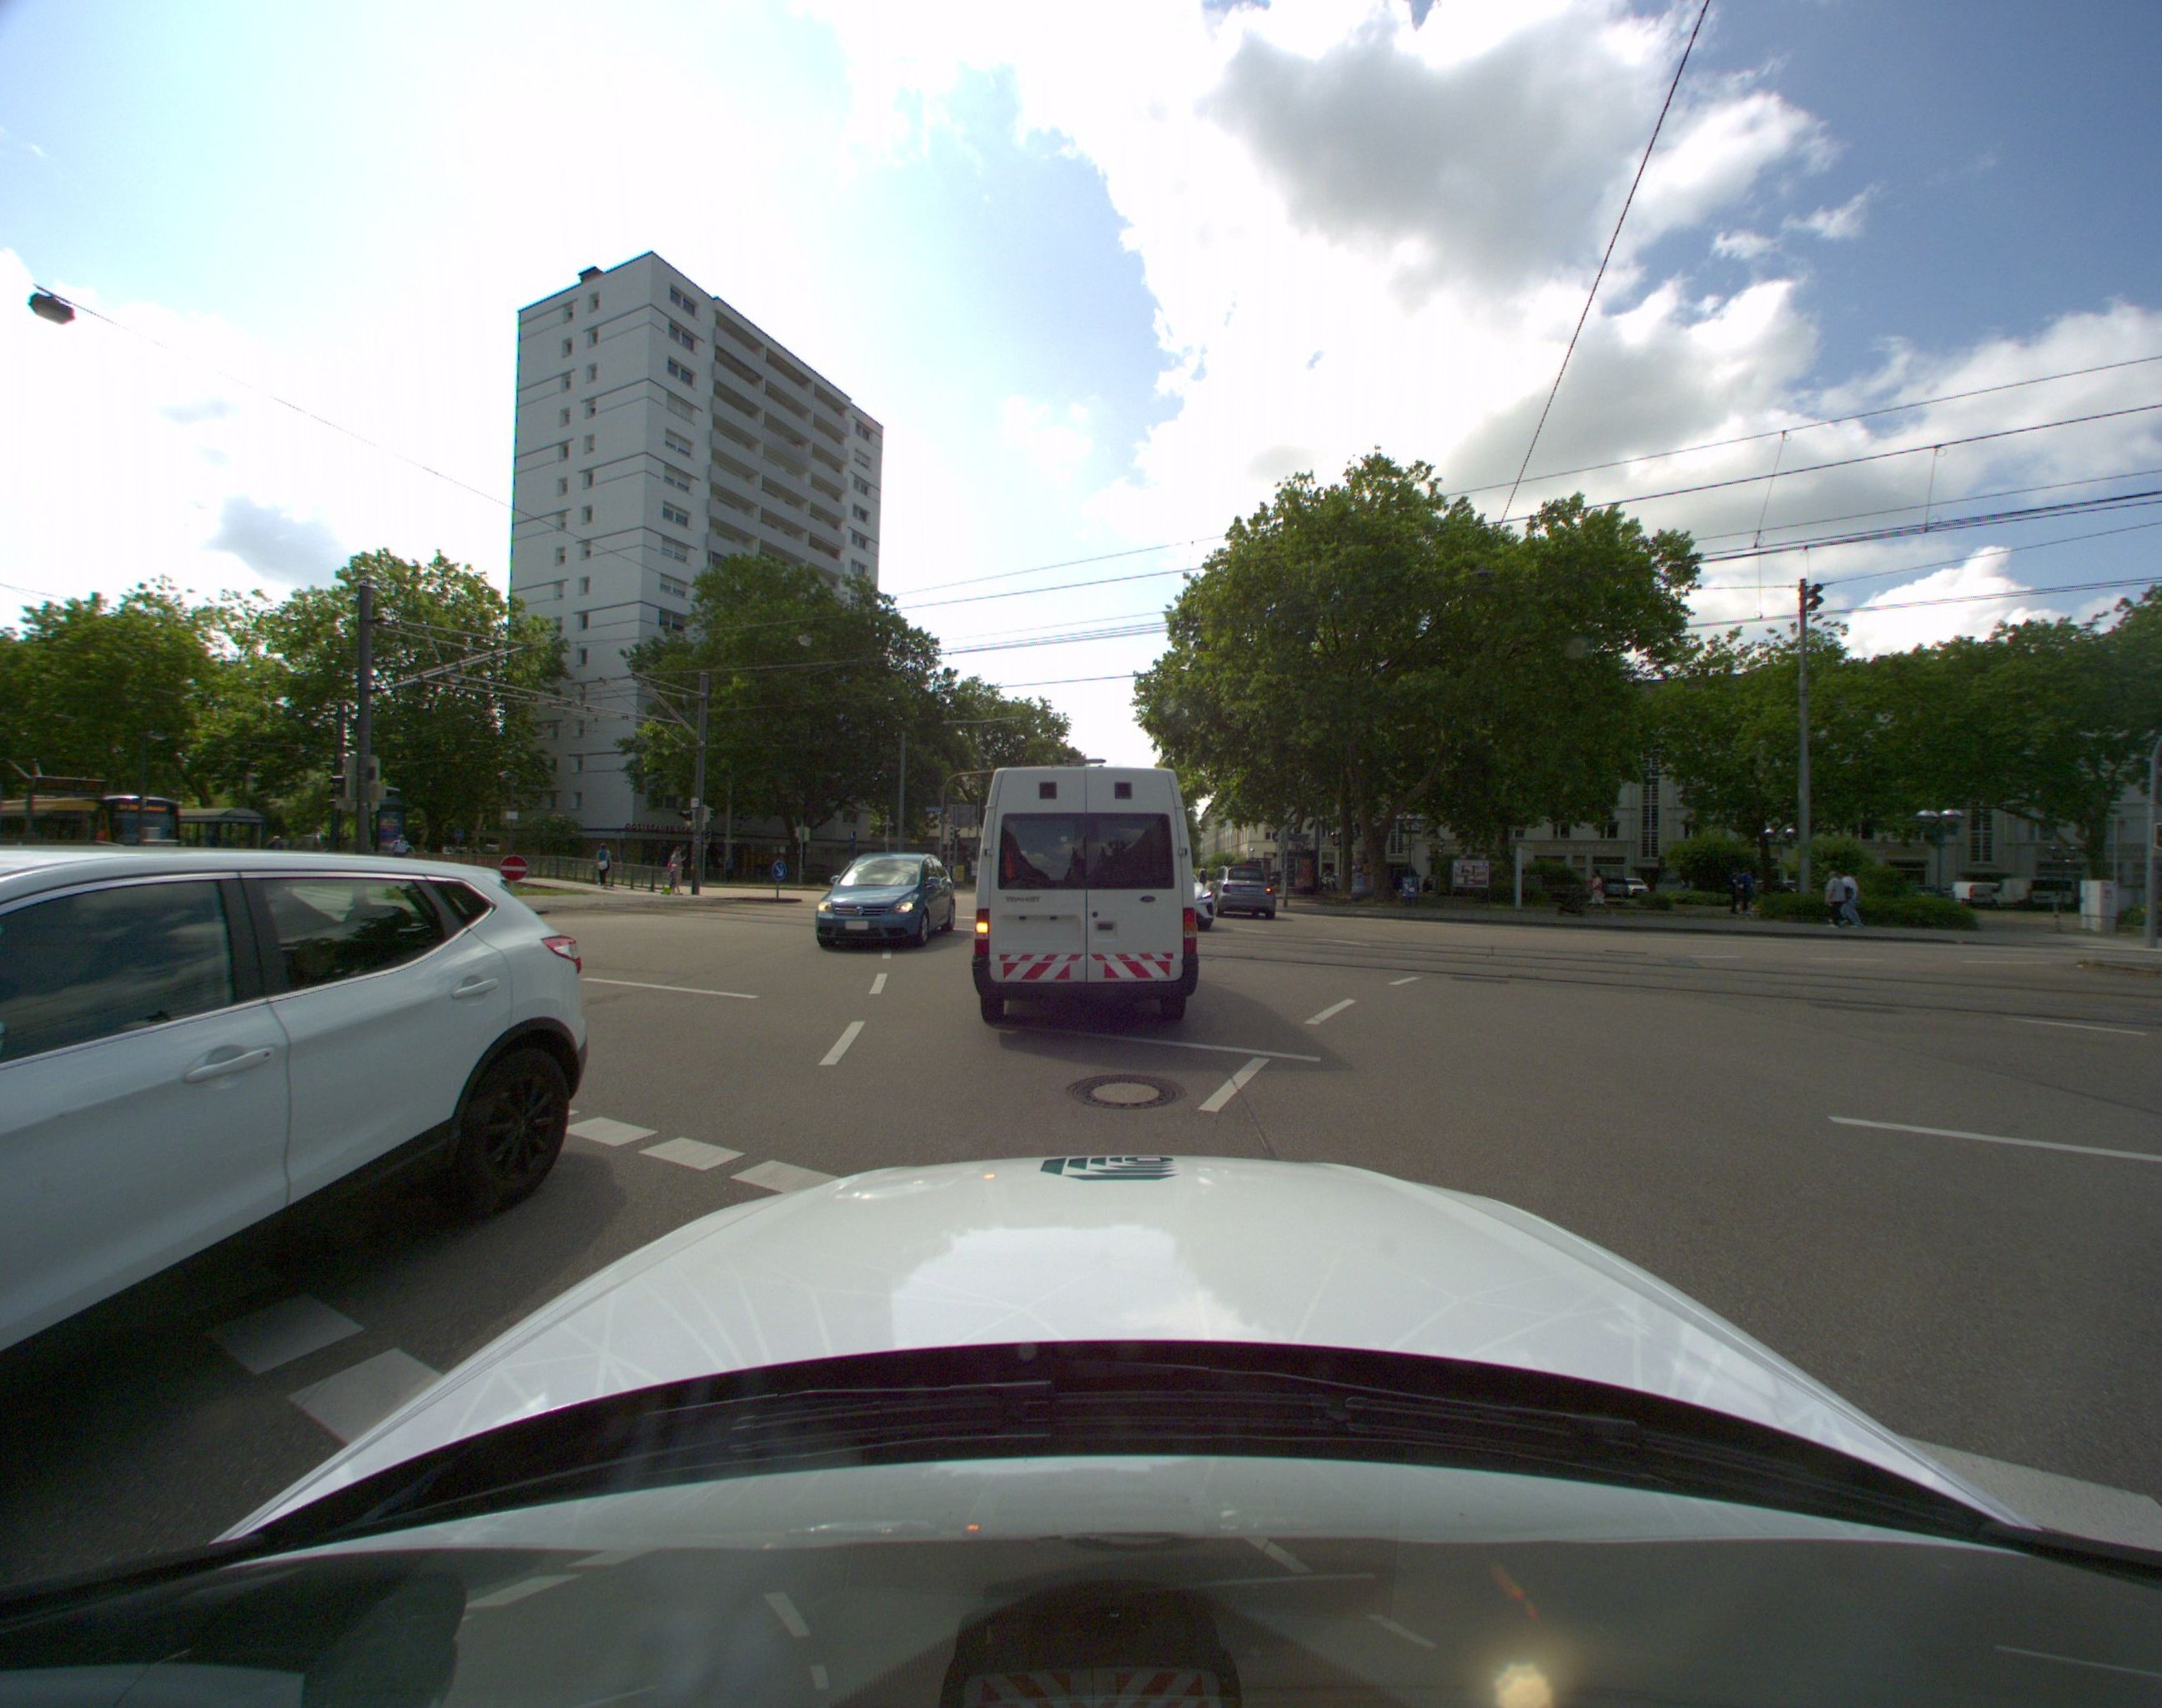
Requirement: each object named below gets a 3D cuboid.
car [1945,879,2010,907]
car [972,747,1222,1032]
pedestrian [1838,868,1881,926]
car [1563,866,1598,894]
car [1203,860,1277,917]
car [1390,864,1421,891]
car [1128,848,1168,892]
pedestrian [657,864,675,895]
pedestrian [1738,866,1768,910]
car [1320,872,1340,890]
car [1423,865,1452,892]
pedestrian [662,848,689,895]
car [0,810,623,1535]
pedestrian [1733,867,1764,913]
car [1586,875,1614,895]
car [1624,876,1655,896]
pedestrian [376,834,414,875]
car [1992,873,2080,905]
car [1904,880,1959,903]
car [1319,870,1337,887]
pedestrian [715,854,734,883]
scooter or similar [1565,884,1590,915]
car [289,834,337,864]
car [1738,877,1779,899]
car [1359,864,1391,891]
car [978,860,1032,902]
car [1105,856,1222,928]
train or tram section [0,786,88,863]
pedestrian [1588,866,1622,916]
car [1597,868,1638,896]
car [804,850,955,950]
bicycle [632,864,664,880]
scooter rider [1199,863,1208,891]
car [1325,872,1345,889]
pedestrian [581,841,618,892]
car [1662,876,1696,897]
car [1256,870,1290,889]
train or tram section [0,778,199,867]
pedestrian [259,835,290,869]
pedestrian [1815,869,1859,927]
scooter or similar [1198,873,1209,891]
[{"bbox_3d":[66.382,2.853,60.385,1.975,1.964,4.024,0,-1,28],"label":"car"},{"bbox_3d":[0.027,0.308,9.108,2.042,2.333,4.709,1,0,-3],"label":"car"},{"bbox_3d":[23.972,1.307,25.094,0.665,1.764,0.693,1,-1,2],"label":"pedestrian"},{"bbox_3d":[38.322,2.005,62.550,1.975,2.014,4.023,0,-1,27],"label":"car"},{"bbox_3d":[4.667,0.972,24.319,1.685,1.538,3.470,1,0,3],"label":"car"},{"bbox_3d":[26.938,1.945,67.518,1.975,2.076,4.023,1,-1,27],"label":"car"},{"bbox_3d":[4.255,1.012,52.648,2.112,2.641,6.327,1,-1,0],"label":"car"},{"bbox_3d":[-14.421,0.892,28.296,0.431,1.063,0.423,0,-2,40],"label":"pedestrian"},{"bbox_3d":[26.892,1.357,32.580,0.694,1.750,0.606,1,-1,2],"label":"pedestrian"},{"bbox_3d":[20.188,2.175,65.988,1.454,1.389,3.080,1,-1,17],"label":"car"},{"bbox_3d":[28.983,1.954,66.124,1.975,2.076,4.023,1,-1,27],"label":"car"},{"bbox_3d":[-14.431,0.613,28.996,0.667,1.666,0.629,0,-1,41],"label":"pedestrian"},{"bbox_3d":[-3.246,0.697,2.202,1.765,1.582,4.019,0,0,-1],"label":"car"},{"bbox_3d":[25.657,1.375,31.289,0.694,1.750,0.606,1,-1,2],"label":"pedestrian"},{"bbox_3d":[45.040,2.656,70.683,1.722,1.637,4.024,0,-1,28],"label":"car"},{"bbox_3d":[47.543,2.675,69.375,1.722,1.637,4.024,0,-1,28],"label":"car"},{"bbox_3d":[-30.000,0.026,35.621,1.032,1.780,0.856,1,-1,26],"label":"pedestrian"},{"bbox_3d":[60.203,2.169,51.451,2.078,1.905,4.518,0,-1,28],"label":"car"},{"bbox_3d":[64.161,2.814,61.508,1.722,1.637,4.024,0,-1,28],"label":"car"},{"bbox_3d":[24.578,2.455,81.029,1.453,1.666,3.083,1,-1,22],"label":"car"},{"bbox_3d":[-20.357,0.835,46.517,0.775,1.599,0.538,1,-1,23],"label":"pedestrian"},{"bbox_3d":[17.131,1.568,28.134,0.699,1.056,0.494,1,-1,28],"label":"scooter or similar"},{"bbox_3d":[-72.792,-0.471,77.187,4.225,2.775,1.823,1,-1,25],"label":"car"},{"bbox_3d":[54.777,2.735,65.924,1.722,1.637,4.024,0,-1,28],"label":"car"},{"bbox_3d":[24.684,1.967,68.250,1.975,2.183,4.282,1,-1,27],"label":"car"},{"bbox_3d":[-2.727,0.953,30.041,1.708,1.433,3.816,0,0,-1],"label":"car"},{"bbox_3d":[1.831,0.834,19.398,1.813,1.506,4.119,1,-1,-8],"label":"car"},{"bbox_3d":[-55.707,-1.457,42.228,10.275,3.584,2.821,1,-2,25],"label":"train or tram section"},{"bbox_3d":[17.854,1.241,27.761,0.911,1.646,0.573,1,-1,27],"label":"pedestrian"},{"bbox_3d":[40.369,2.111,61.333,1.975,2.014,4.022,0,-1,24],"label":"car"},{"bbox_3d":[-3.424,0.729,14.587,1.742,1.540,3.931,0,-1,0],"label":"car"},{"bbox_3d":[-27.352,1.136,51.455,1.736,1.009,0.528,2,-1,-37],"label":"bicycle"},{"bbox_3d":[7.886,1.487,52.417,0.524,1.812,0.649,1,-1,1],"label":"scooter rider"},{"bbox_3d":[21.804,2.273,69.878,1.453,1.389,3.251,1,-1,19],"label":"car"},{"bbox_3d":[-18.499,0.485,31.307,0.836,1.899,0.834,0,-2,26],"label":"pedestrian"},{"bbox_3d":[49.962,2.693,68.120,1.722,1.637,4.024,0,-1,28],"label":"car"},{"bbox_3d":[17.037,2.251,72.154,2.009,1.601,4.564,0,-1,24],"label":"car"},{"bbox_3d":[-45.252,-1.340,37.262,12.855,3.584,2.832,1,-2,25],"label":"train or tram section"},{"bbox_3d":[-42.320,-0.093,42.719,0.866,1.775,0.865,0,-2,26],"label":"pedestrian"},{"bbox_3d":[23.190,1.334,24.989,0.714,1.722,0.693,1,-1,2],"label":"pedestrian"},{"bbox_3d":[7.864,1.786,52.382,0.547,1.091,1.292,1,-1,2],"label":"scooter or similar"}]
